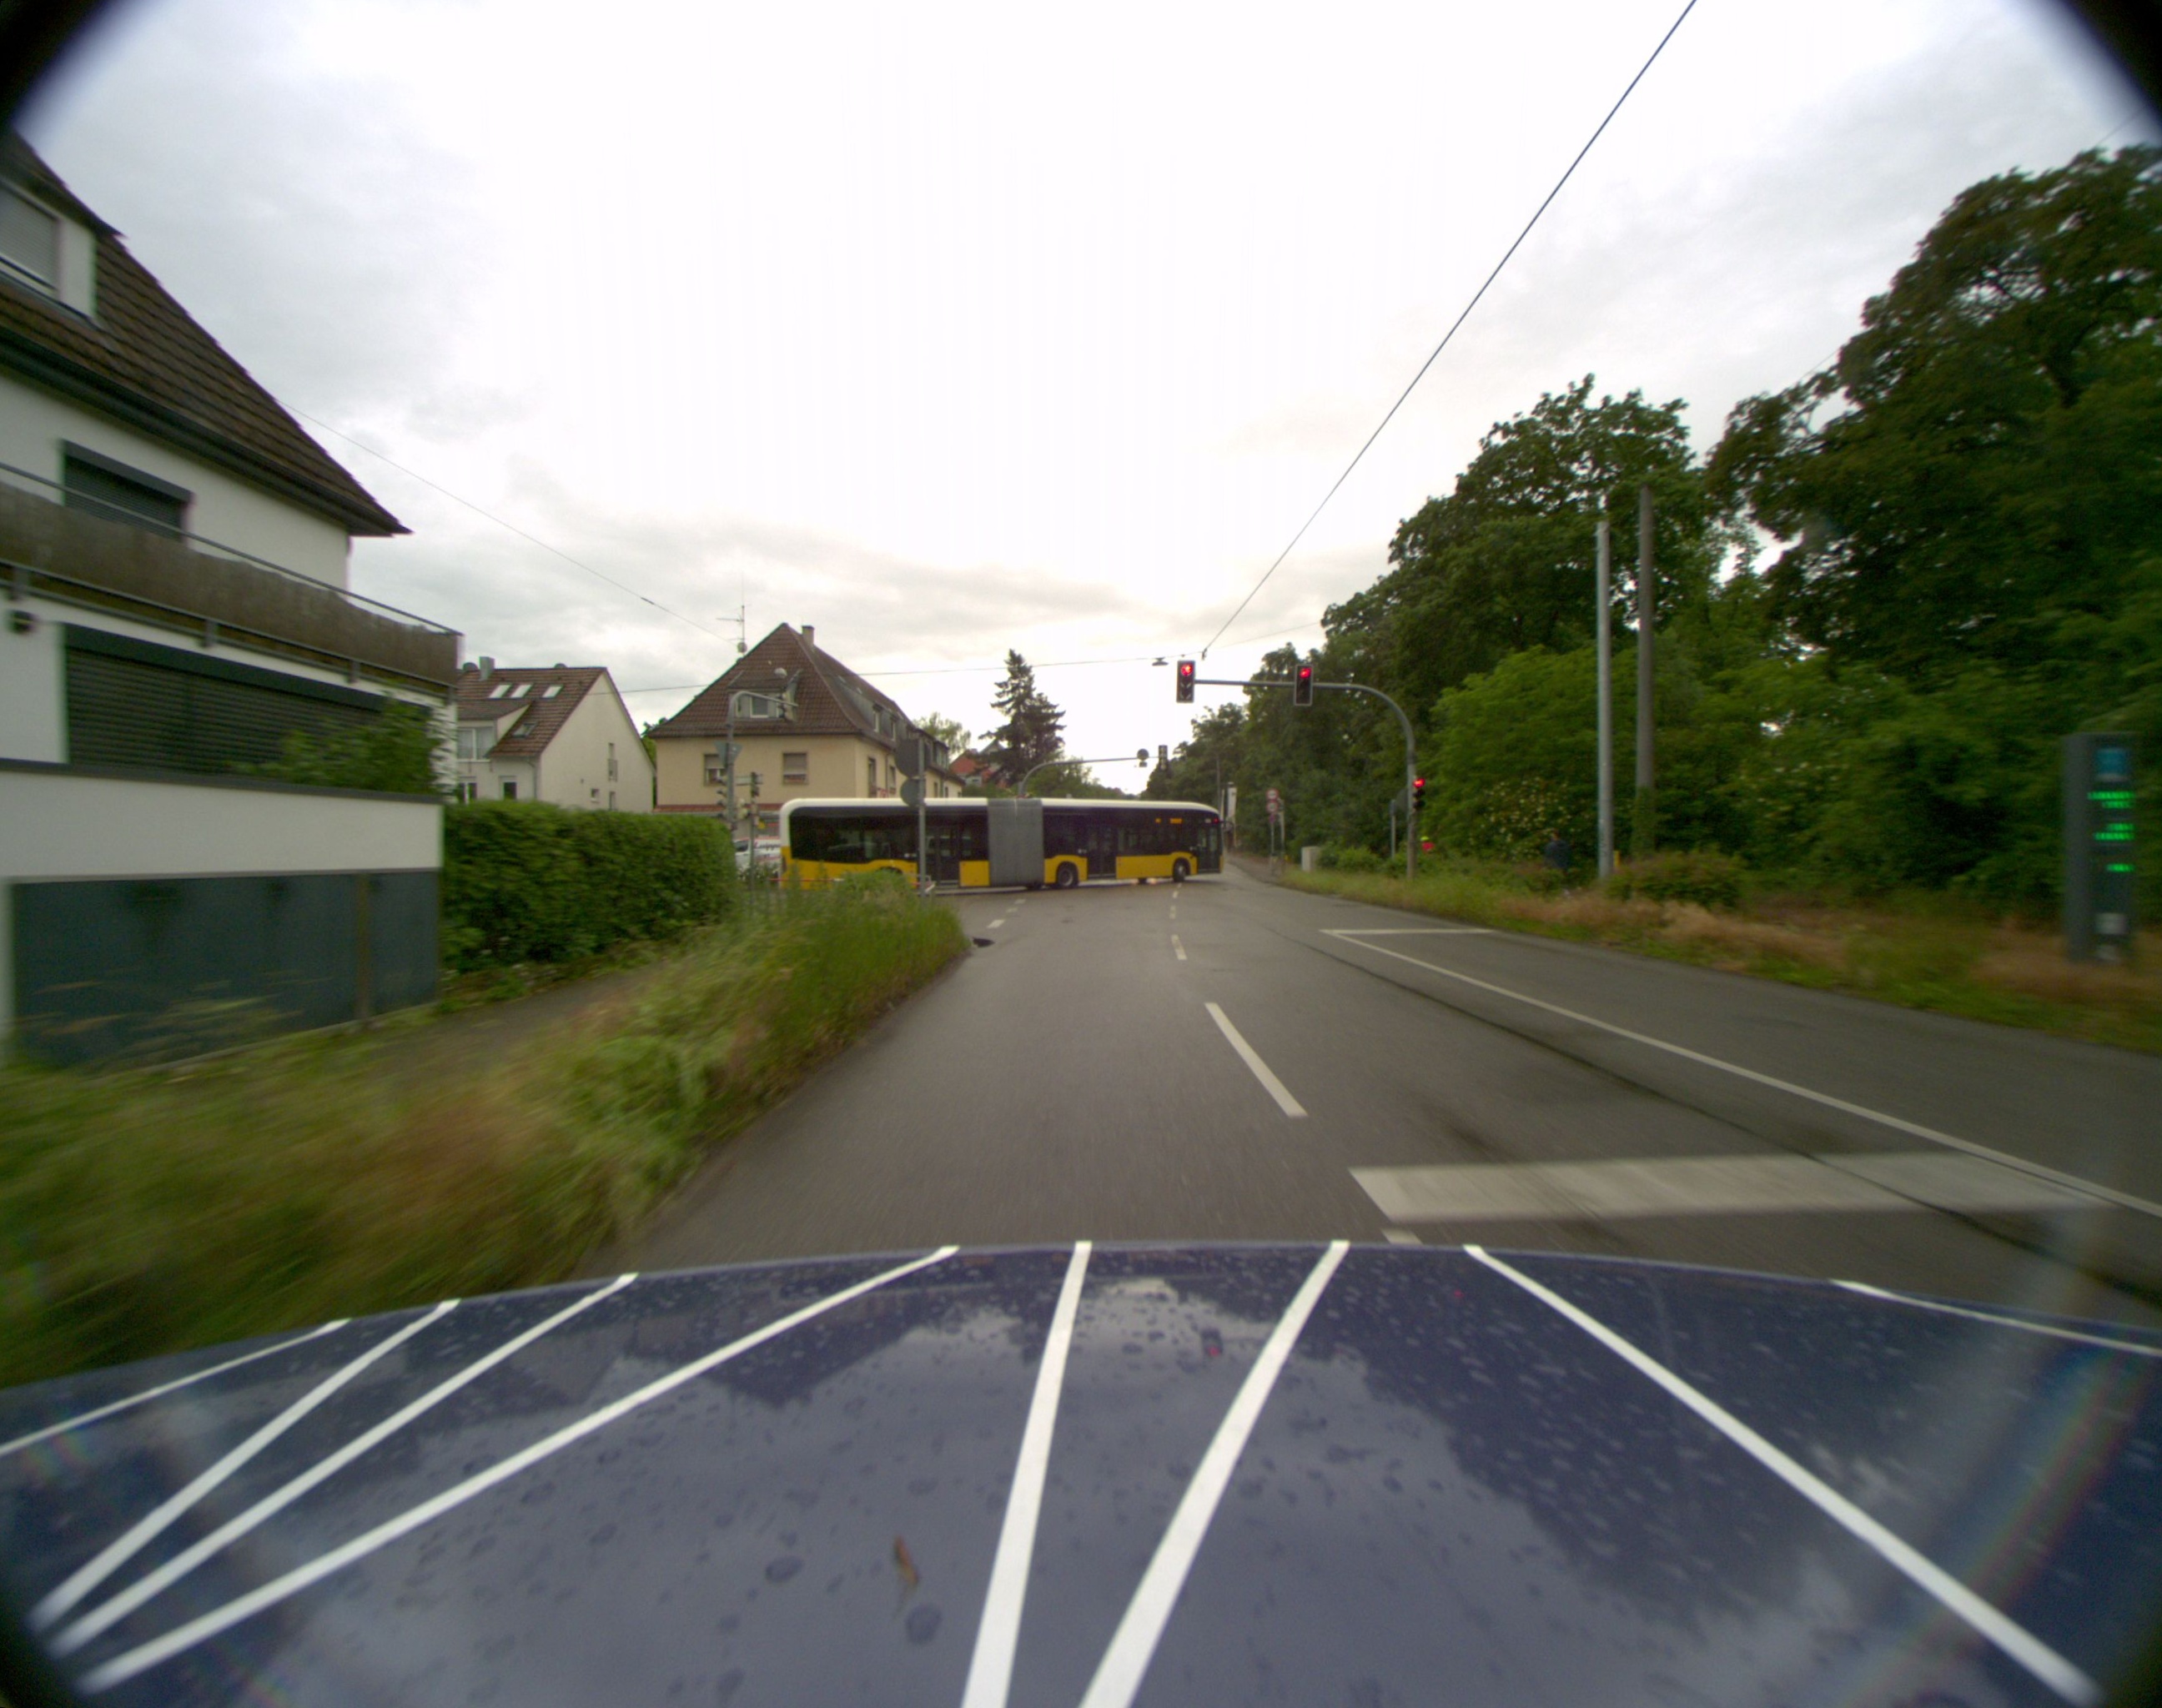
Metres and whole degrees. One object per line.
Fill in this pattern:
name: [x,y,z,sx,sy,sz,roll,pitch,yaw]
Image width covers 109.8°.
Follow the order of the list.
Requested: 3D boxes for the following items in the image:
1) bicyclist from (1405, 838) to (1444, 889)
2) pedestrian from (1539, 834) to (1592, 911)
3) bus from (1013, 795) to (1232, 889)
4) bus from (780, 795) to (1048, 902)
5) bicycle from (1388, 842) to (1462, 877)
bicyclist: [11.431,0.305,25.298,1.047,1.643,0.580,-1,2,6]
pedestrian: [11.607,0.427,18.232,0.778,1.790,0.763,-1,2,2]
bus: [1.913,-0.512,31.194,9.056,3.379,2.901,-2,1,-36]
bus: [-5.728,-0.266,26.712,8.684,3.379,2.682,-2,1,-15]
bicycle: [11.426,0.169,25.296,2.151,1.090,0.580,-1,2,6]
